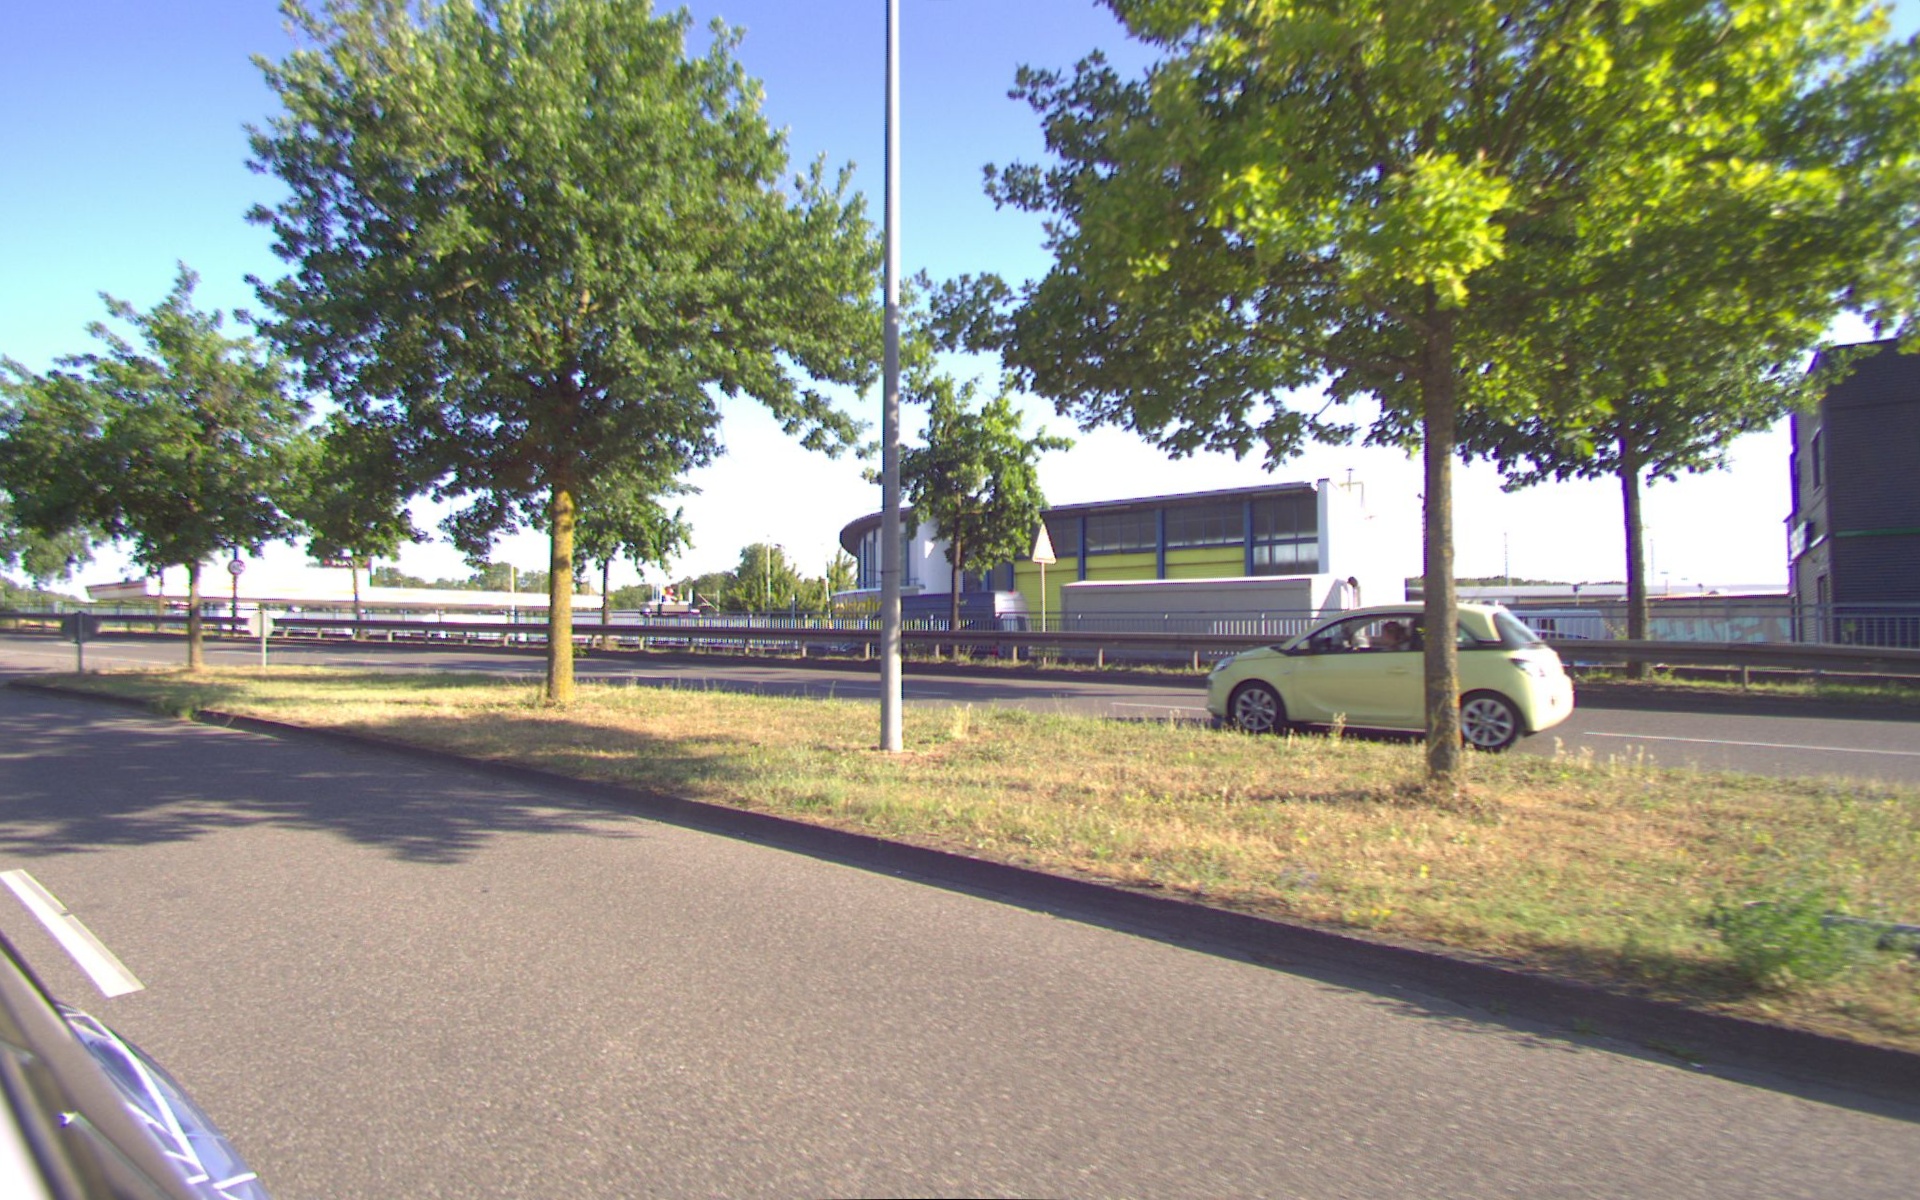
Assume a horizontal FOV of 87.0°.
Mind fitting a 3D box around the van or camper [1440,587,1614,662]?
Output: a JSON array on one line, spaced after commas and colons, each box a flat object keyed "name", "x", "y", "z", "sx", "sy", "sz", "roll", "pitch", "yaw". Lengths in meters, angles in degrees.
[{"name": "van or camper", "x": 15.692, "y": 0.688, "z": 28.037, "sx": 4.156, "sy": 1.940, "sz": 2.007, "roll": 1, "pitch": -1, "yaw": -21}]

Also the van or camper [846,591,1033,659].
[{"name": "van or camper", "x": -0.606, "y": 0.656, "z": 27.732, "sx": 4.949, "sy": 1.698, "sz": 1.976, "roll": 0, "pitch": -1, "yaw": 35}]

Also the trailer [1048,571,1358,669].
[{"name": "trailer", "x": 5.475, "y": 0.450, "z": 23.445, "sx": 6.593, "sy": 1.985, "sz": 2.397, "roll": -1, "pitch": -1, "yaw": 36}]

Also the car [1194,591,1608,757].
[{"name": "car", "x": 4.650, "y": 0.680, "z": 10.939, "sx": 3.763, "sy": 1.473, "sz": 1.723, "roll": -1, "pitch": 0, "yaw": 40}]
